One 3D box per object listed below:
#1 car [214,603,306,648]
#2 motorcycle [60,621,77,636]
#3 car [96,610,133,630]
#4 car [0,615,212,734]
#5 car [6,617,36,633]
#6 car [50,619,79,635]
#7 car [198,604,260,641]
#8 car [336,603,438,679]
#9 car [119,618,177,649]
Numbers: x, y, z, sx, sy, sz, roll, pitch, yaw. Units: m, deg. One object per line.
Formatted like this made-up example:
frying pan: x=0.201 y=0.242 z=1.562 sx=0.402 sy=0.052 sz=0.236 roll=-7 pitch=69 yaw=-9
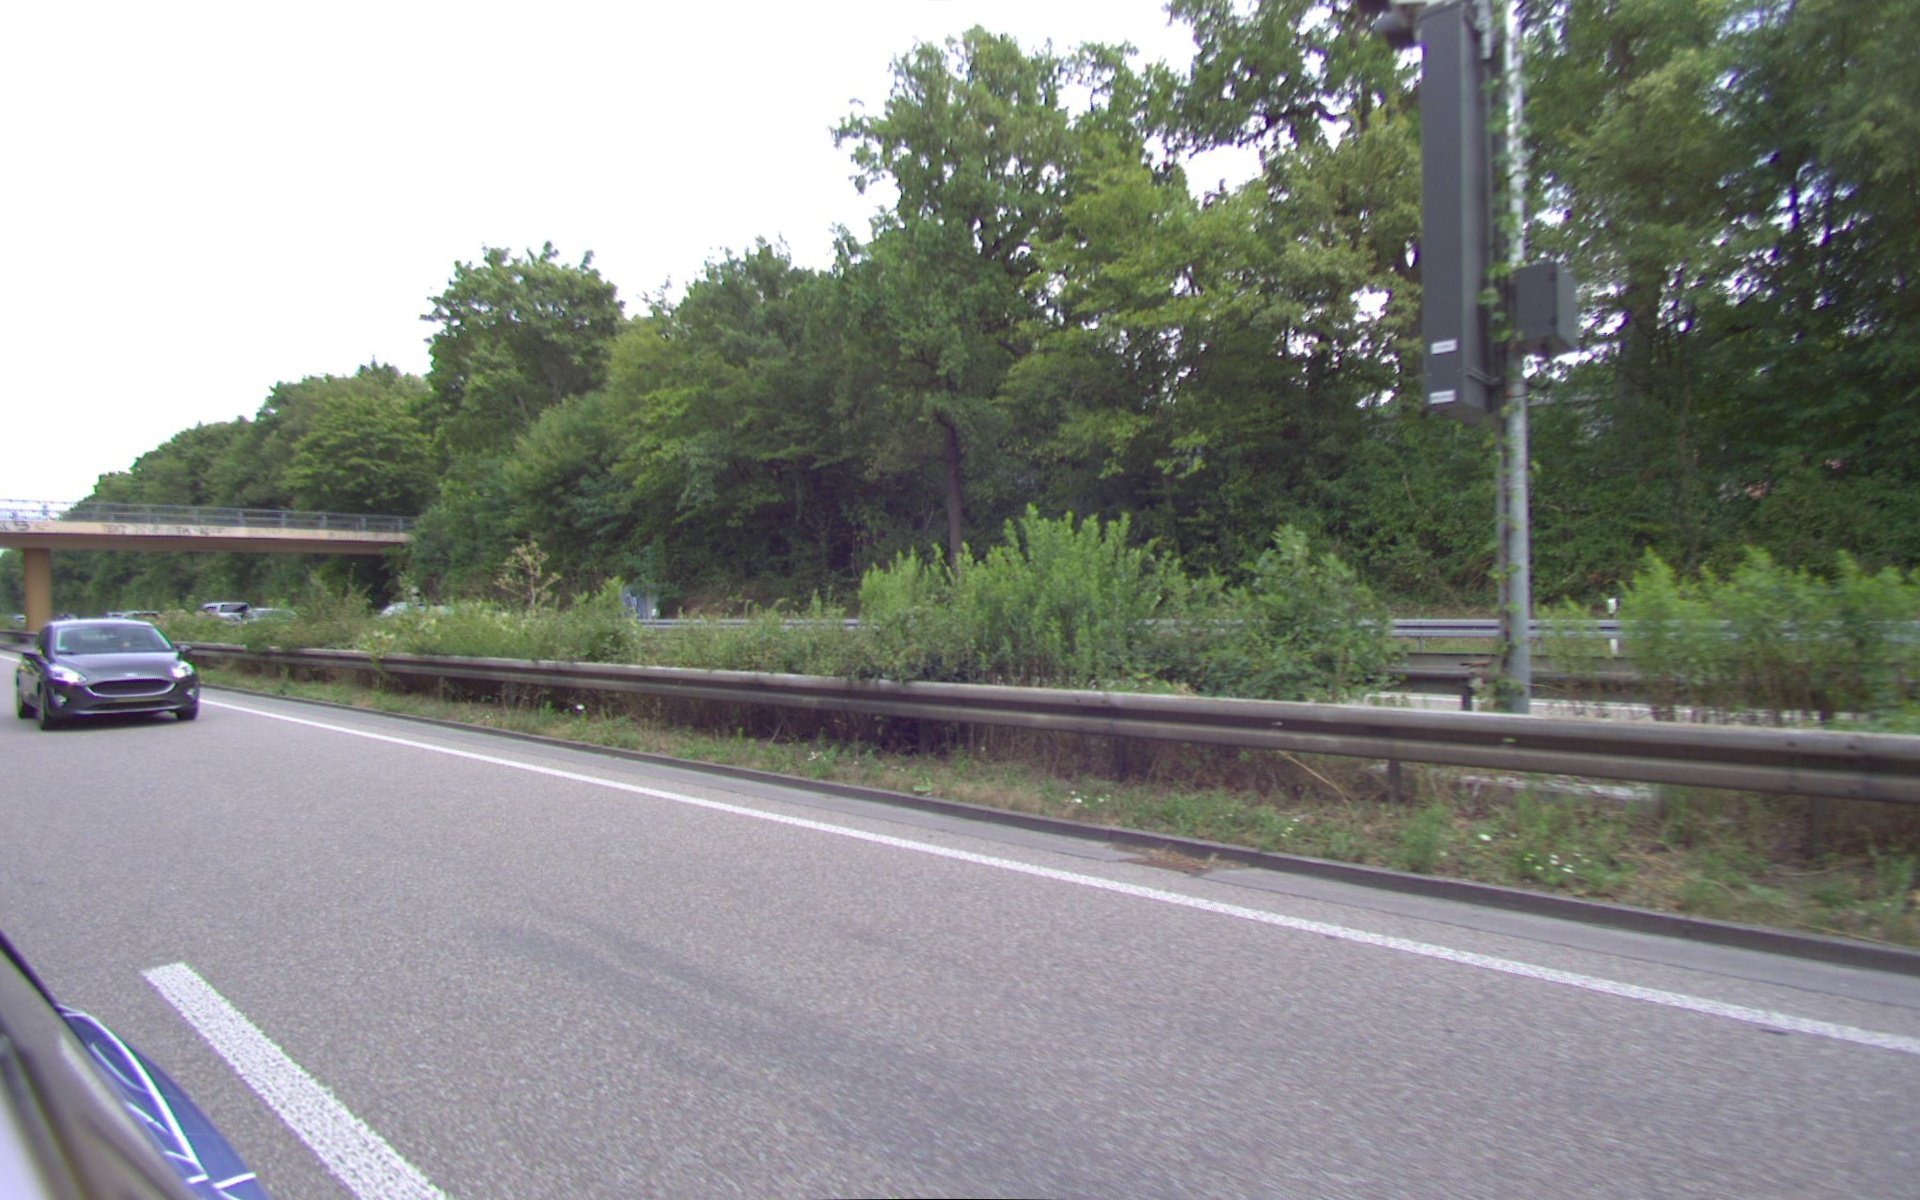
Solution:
car: x=-26.351 y=0.919 z=38.072 sx=3.999 sy=1.623 sz=1.972 roll=-1 pitch=-1 yaw=42
motorcycle: x=-66.591 y=2.092 z=75.576 sx=2.196 sy=1.075 sz=0.694 roll=-1 pitch=-1 yaw=42
car: x=-72.767 y=1.699 z=87.047 sx=4.639 sy=1.664 sz=1.873 roll=-1 pitch=-1 yaw=43
car: x=-12.648 y=0.961 z=14.874 sx=4.639 sy=1.469 sz=1.806 roll=-1 pitch=-1 yaw=42
car: x=-87.067 y=2.305 z=93.790 sx=4.936 sy=1.391 sz=1.671 roll=-1 pitch=-1 yaw=43
car: x=-95.188 y=2.861 z=107.586 sx=4.639 sy=1.699 sz=1.873 roll=-1 pitch=-1 yaw=43
car: x=-42.043 y=1.238 z=58.138 sx=5.300 sy=2.029 sz=1.777 roll=-1 pitch=-1 yaw=42
car: x=-15.724 y=1.060 z=27.724 sx=3.362 sy=1.958 sz=1.444 roll=-1 pitch=-1 yaw=42
car: x=-44.464 y=1.820 z=55.380 sx=4.180 sy=1.602 sz=1.784 roll=-1 pitch=-1 yaw=42
